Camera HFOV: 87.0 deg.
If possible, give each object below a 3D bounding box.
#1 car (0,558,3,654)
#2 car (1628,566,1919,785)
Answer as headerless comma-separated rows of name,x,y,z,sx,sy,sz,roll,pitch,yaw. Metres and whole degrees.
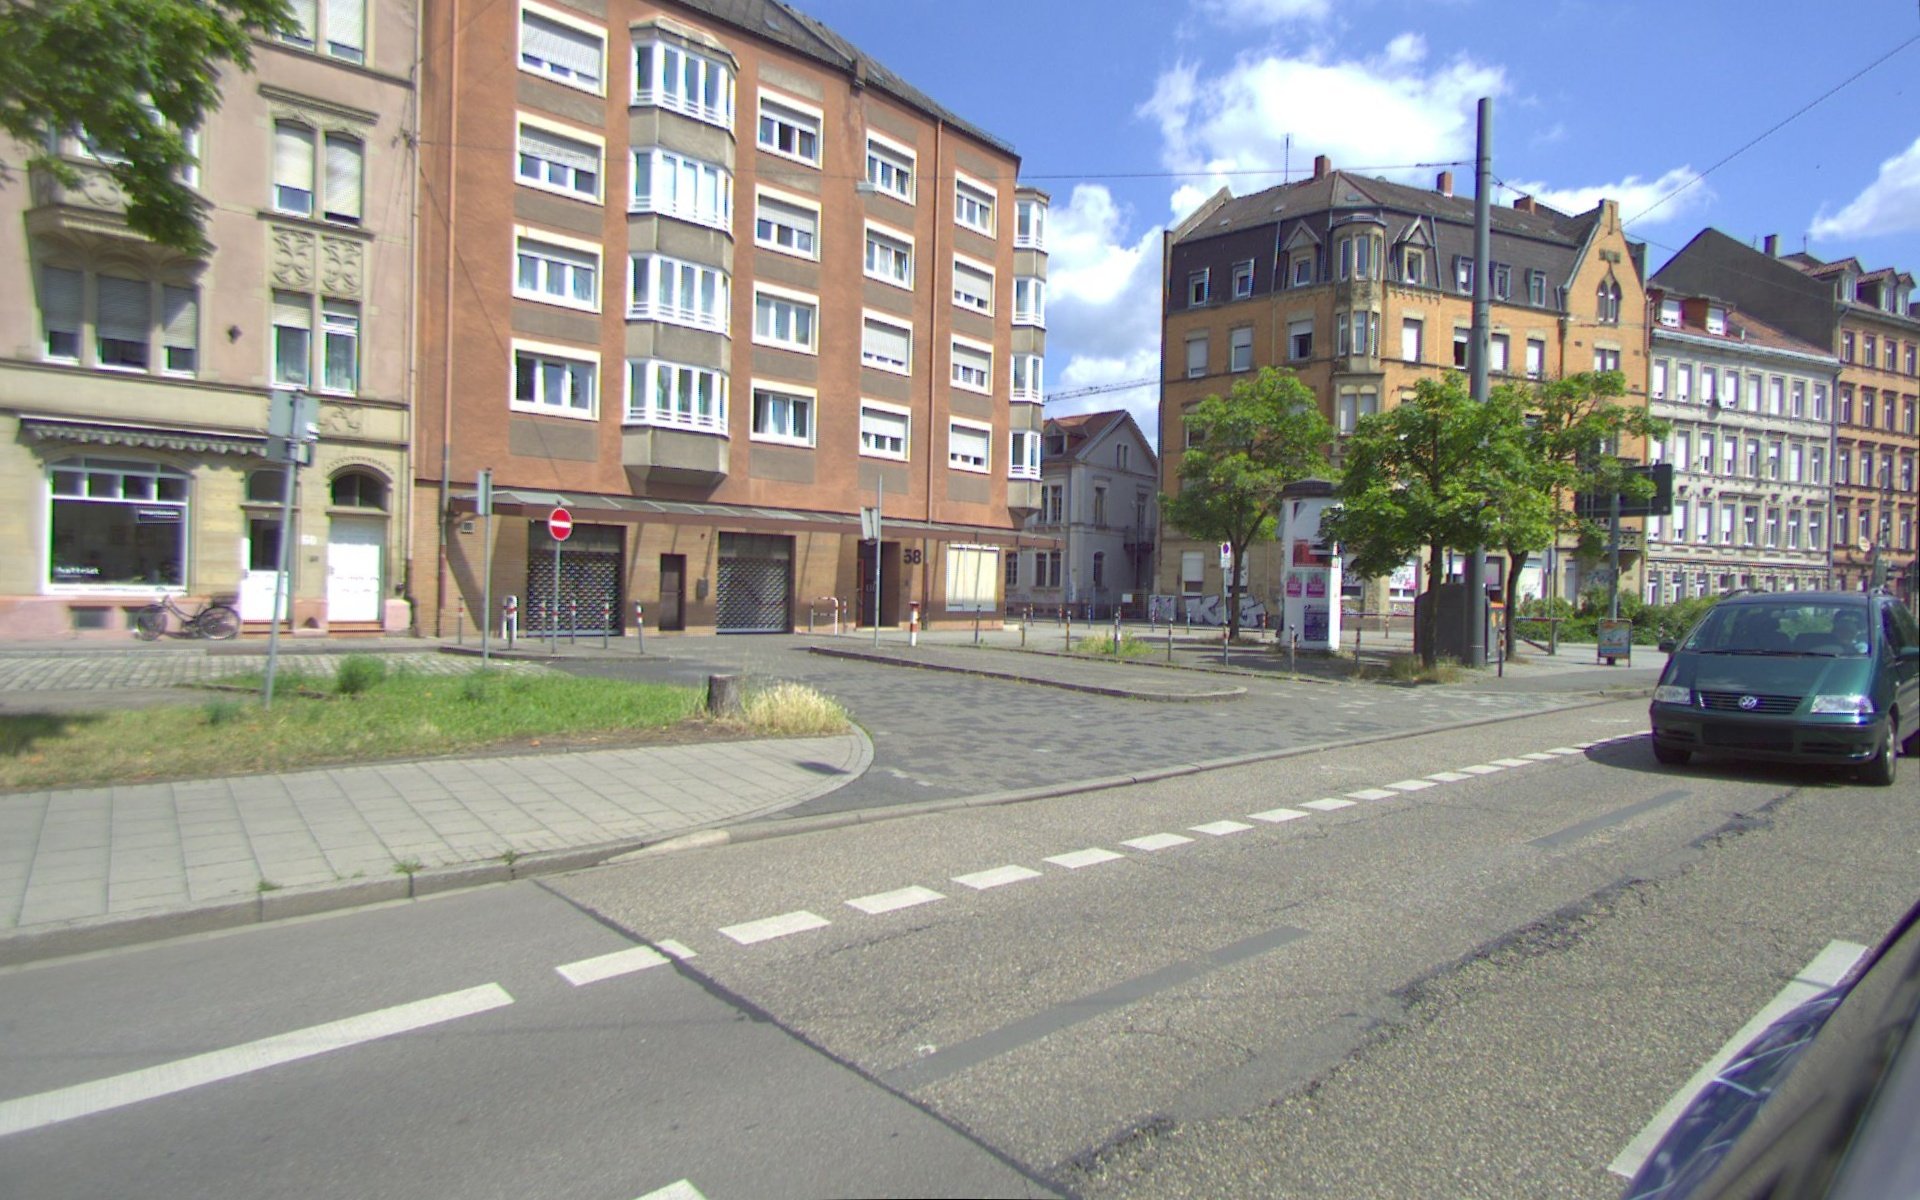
car,-17.594,0.106,15.255,4.413,1.636,1.837,0,0,-38
car,8.901,0.599,10.458,4.939,1.779,1.823,0,0,-37
